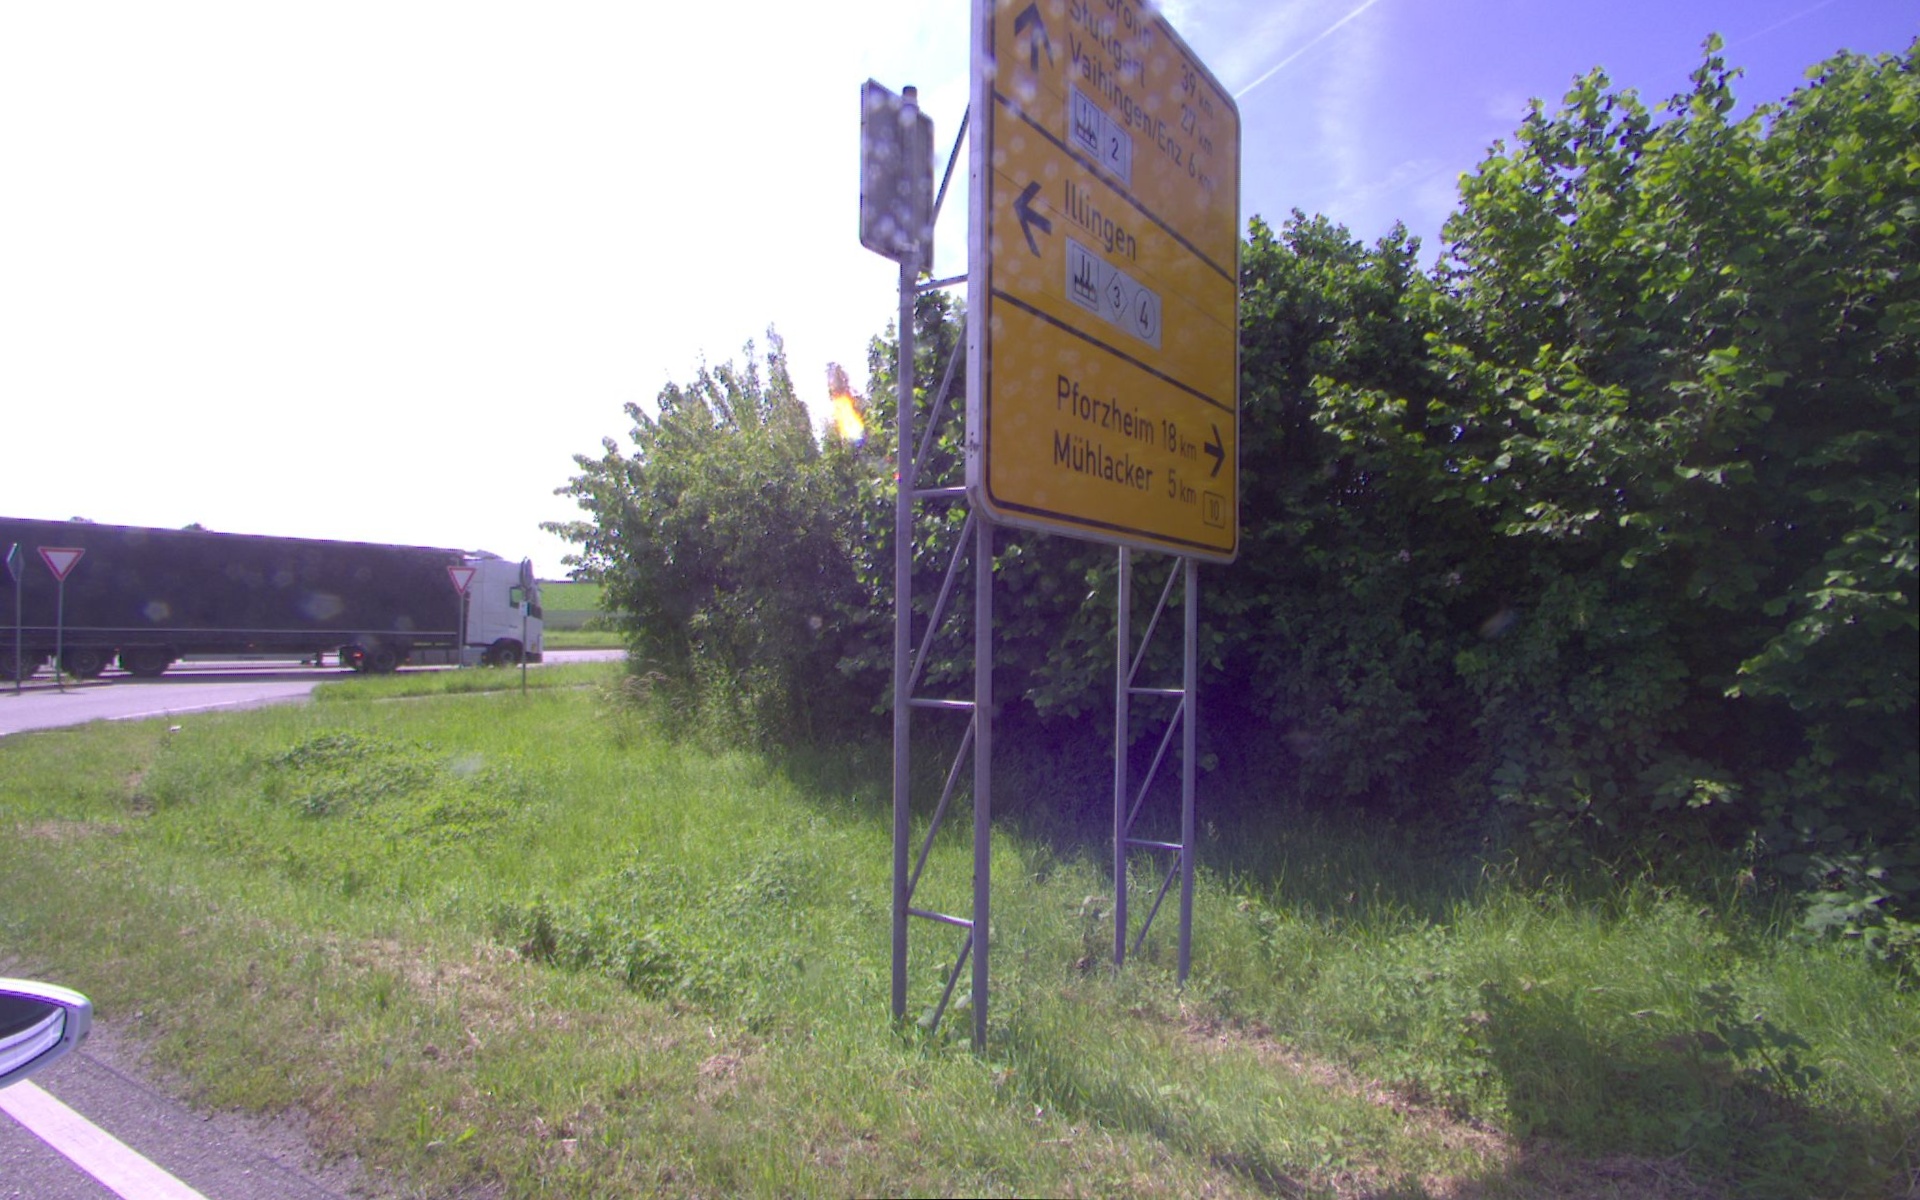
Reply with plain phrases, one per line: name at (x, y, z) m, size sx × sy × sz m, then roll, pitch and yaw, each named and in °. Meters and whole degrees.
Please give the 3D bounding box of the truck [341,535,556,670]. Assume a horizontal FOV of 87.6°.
truck at (-17.058, 0.154, 33.635) m, size 2.766 × 4.114 × 5.799 m, roll 1°, pitch -1°, yaw 41°

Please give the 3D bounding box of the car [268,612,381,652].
car at (-26.969, 1.400, 42.546) m, size 3.952 × 1.616 × 1.653 m, roll 2°, pitch -3°, yaw -37°

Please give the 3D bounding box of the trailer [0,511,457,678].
trailer at (-21.996, -0.020, 28.449) m, size 2.769 × 4.114 × 13.607 m, roll 1°, pitch -1°, yaw 44°
